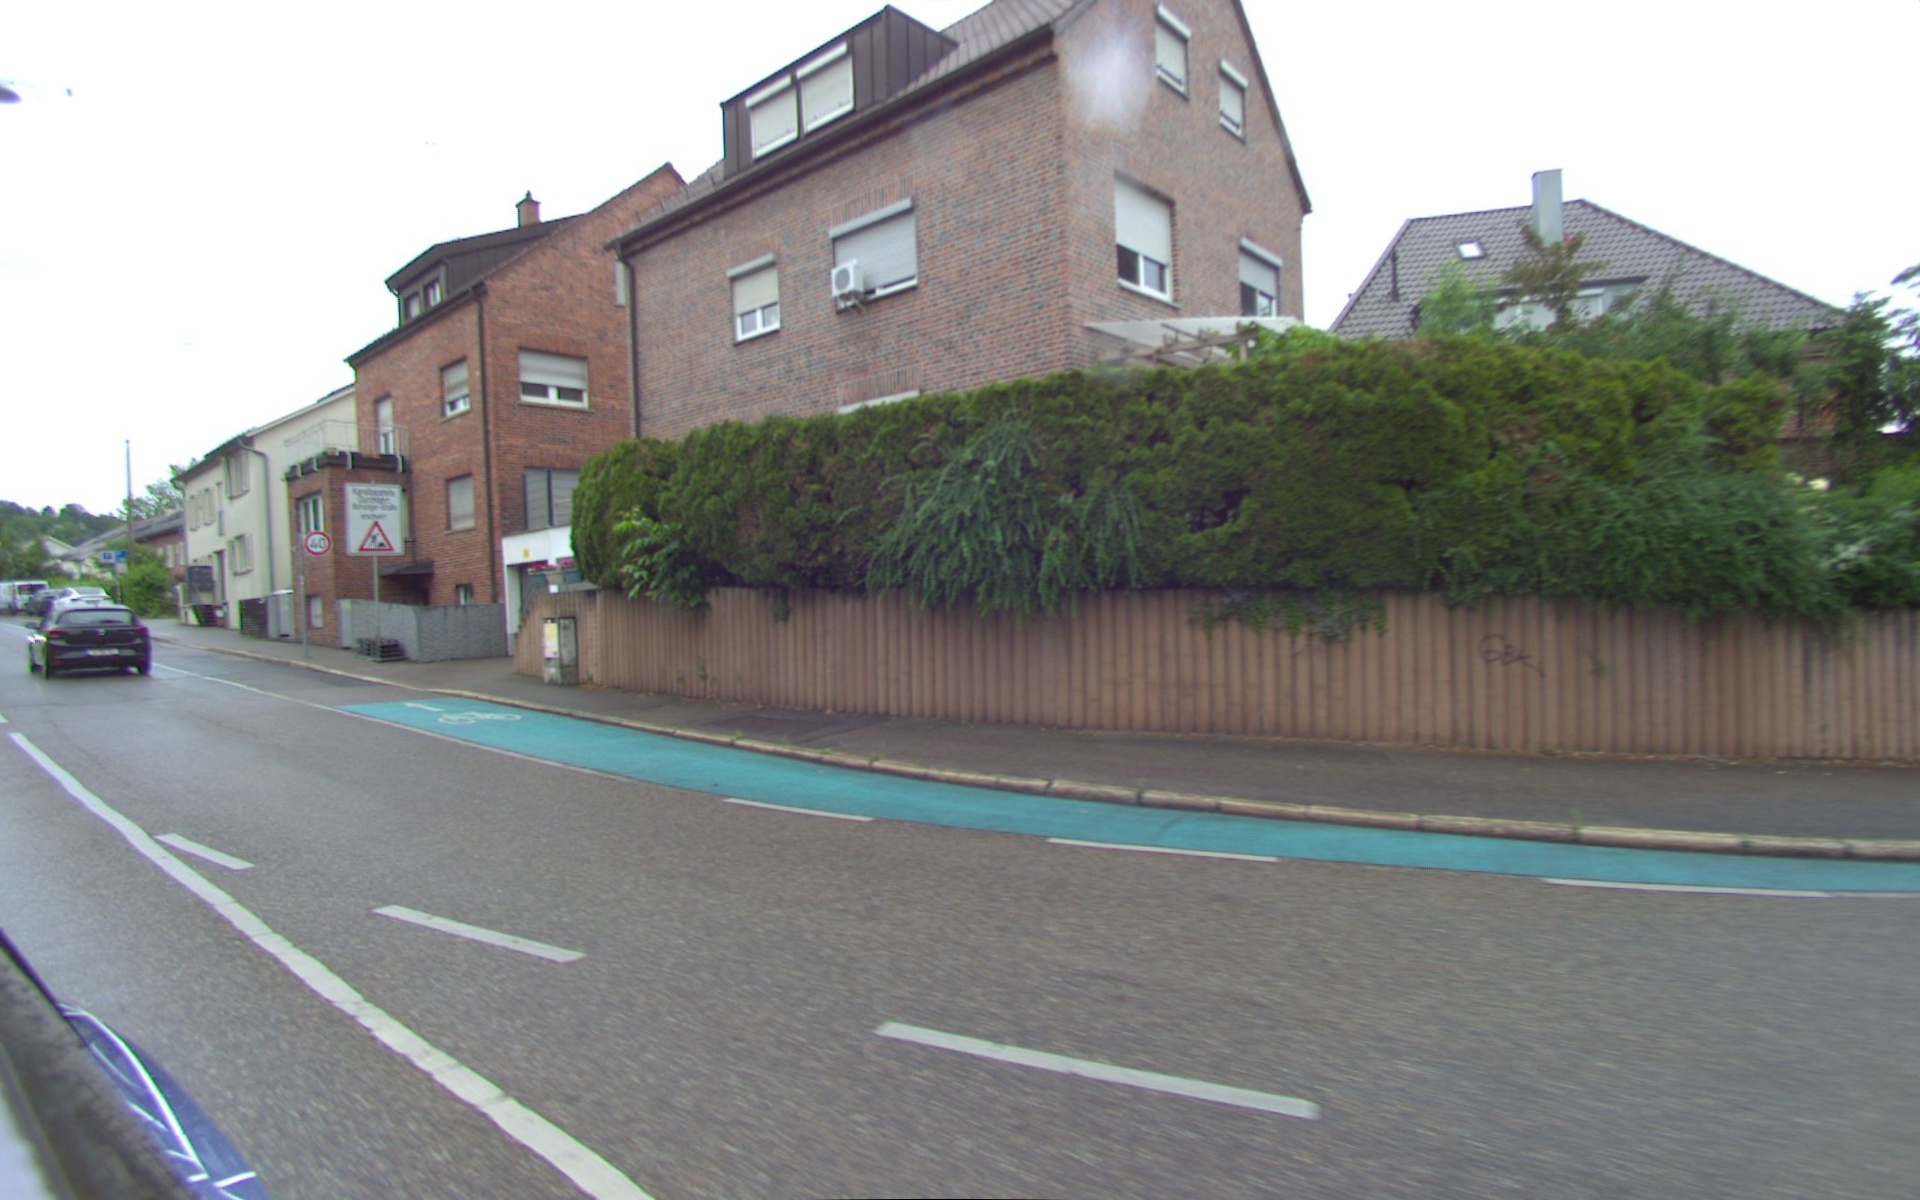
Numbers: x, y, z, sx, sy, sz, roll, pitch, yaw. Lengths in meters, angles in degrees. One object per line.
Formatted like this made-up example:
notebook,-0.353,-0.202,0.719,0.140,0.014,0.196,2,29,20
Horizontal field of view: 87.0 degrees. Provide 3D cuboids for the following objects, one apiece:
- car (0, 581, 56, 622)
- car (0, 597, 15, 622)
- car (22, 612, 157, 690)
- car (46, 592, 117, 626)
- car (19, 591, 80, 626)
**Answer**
car,-56.055,0.096,60.383,4.539,2.303,2.231,-1,2,37
car,-60.718,0.663,63.039,3.996,1.501,1.638,-1,2,31
car,-18.632,1.013,21.608,3.720,1.457,1.894,-1,0,45
car,-44.871,0.447,51.657,4.258,1.577,1.923,-1,2,38
car,-51.162,0.475,56.847,4.258,1.817,1.793,-1,2,38
